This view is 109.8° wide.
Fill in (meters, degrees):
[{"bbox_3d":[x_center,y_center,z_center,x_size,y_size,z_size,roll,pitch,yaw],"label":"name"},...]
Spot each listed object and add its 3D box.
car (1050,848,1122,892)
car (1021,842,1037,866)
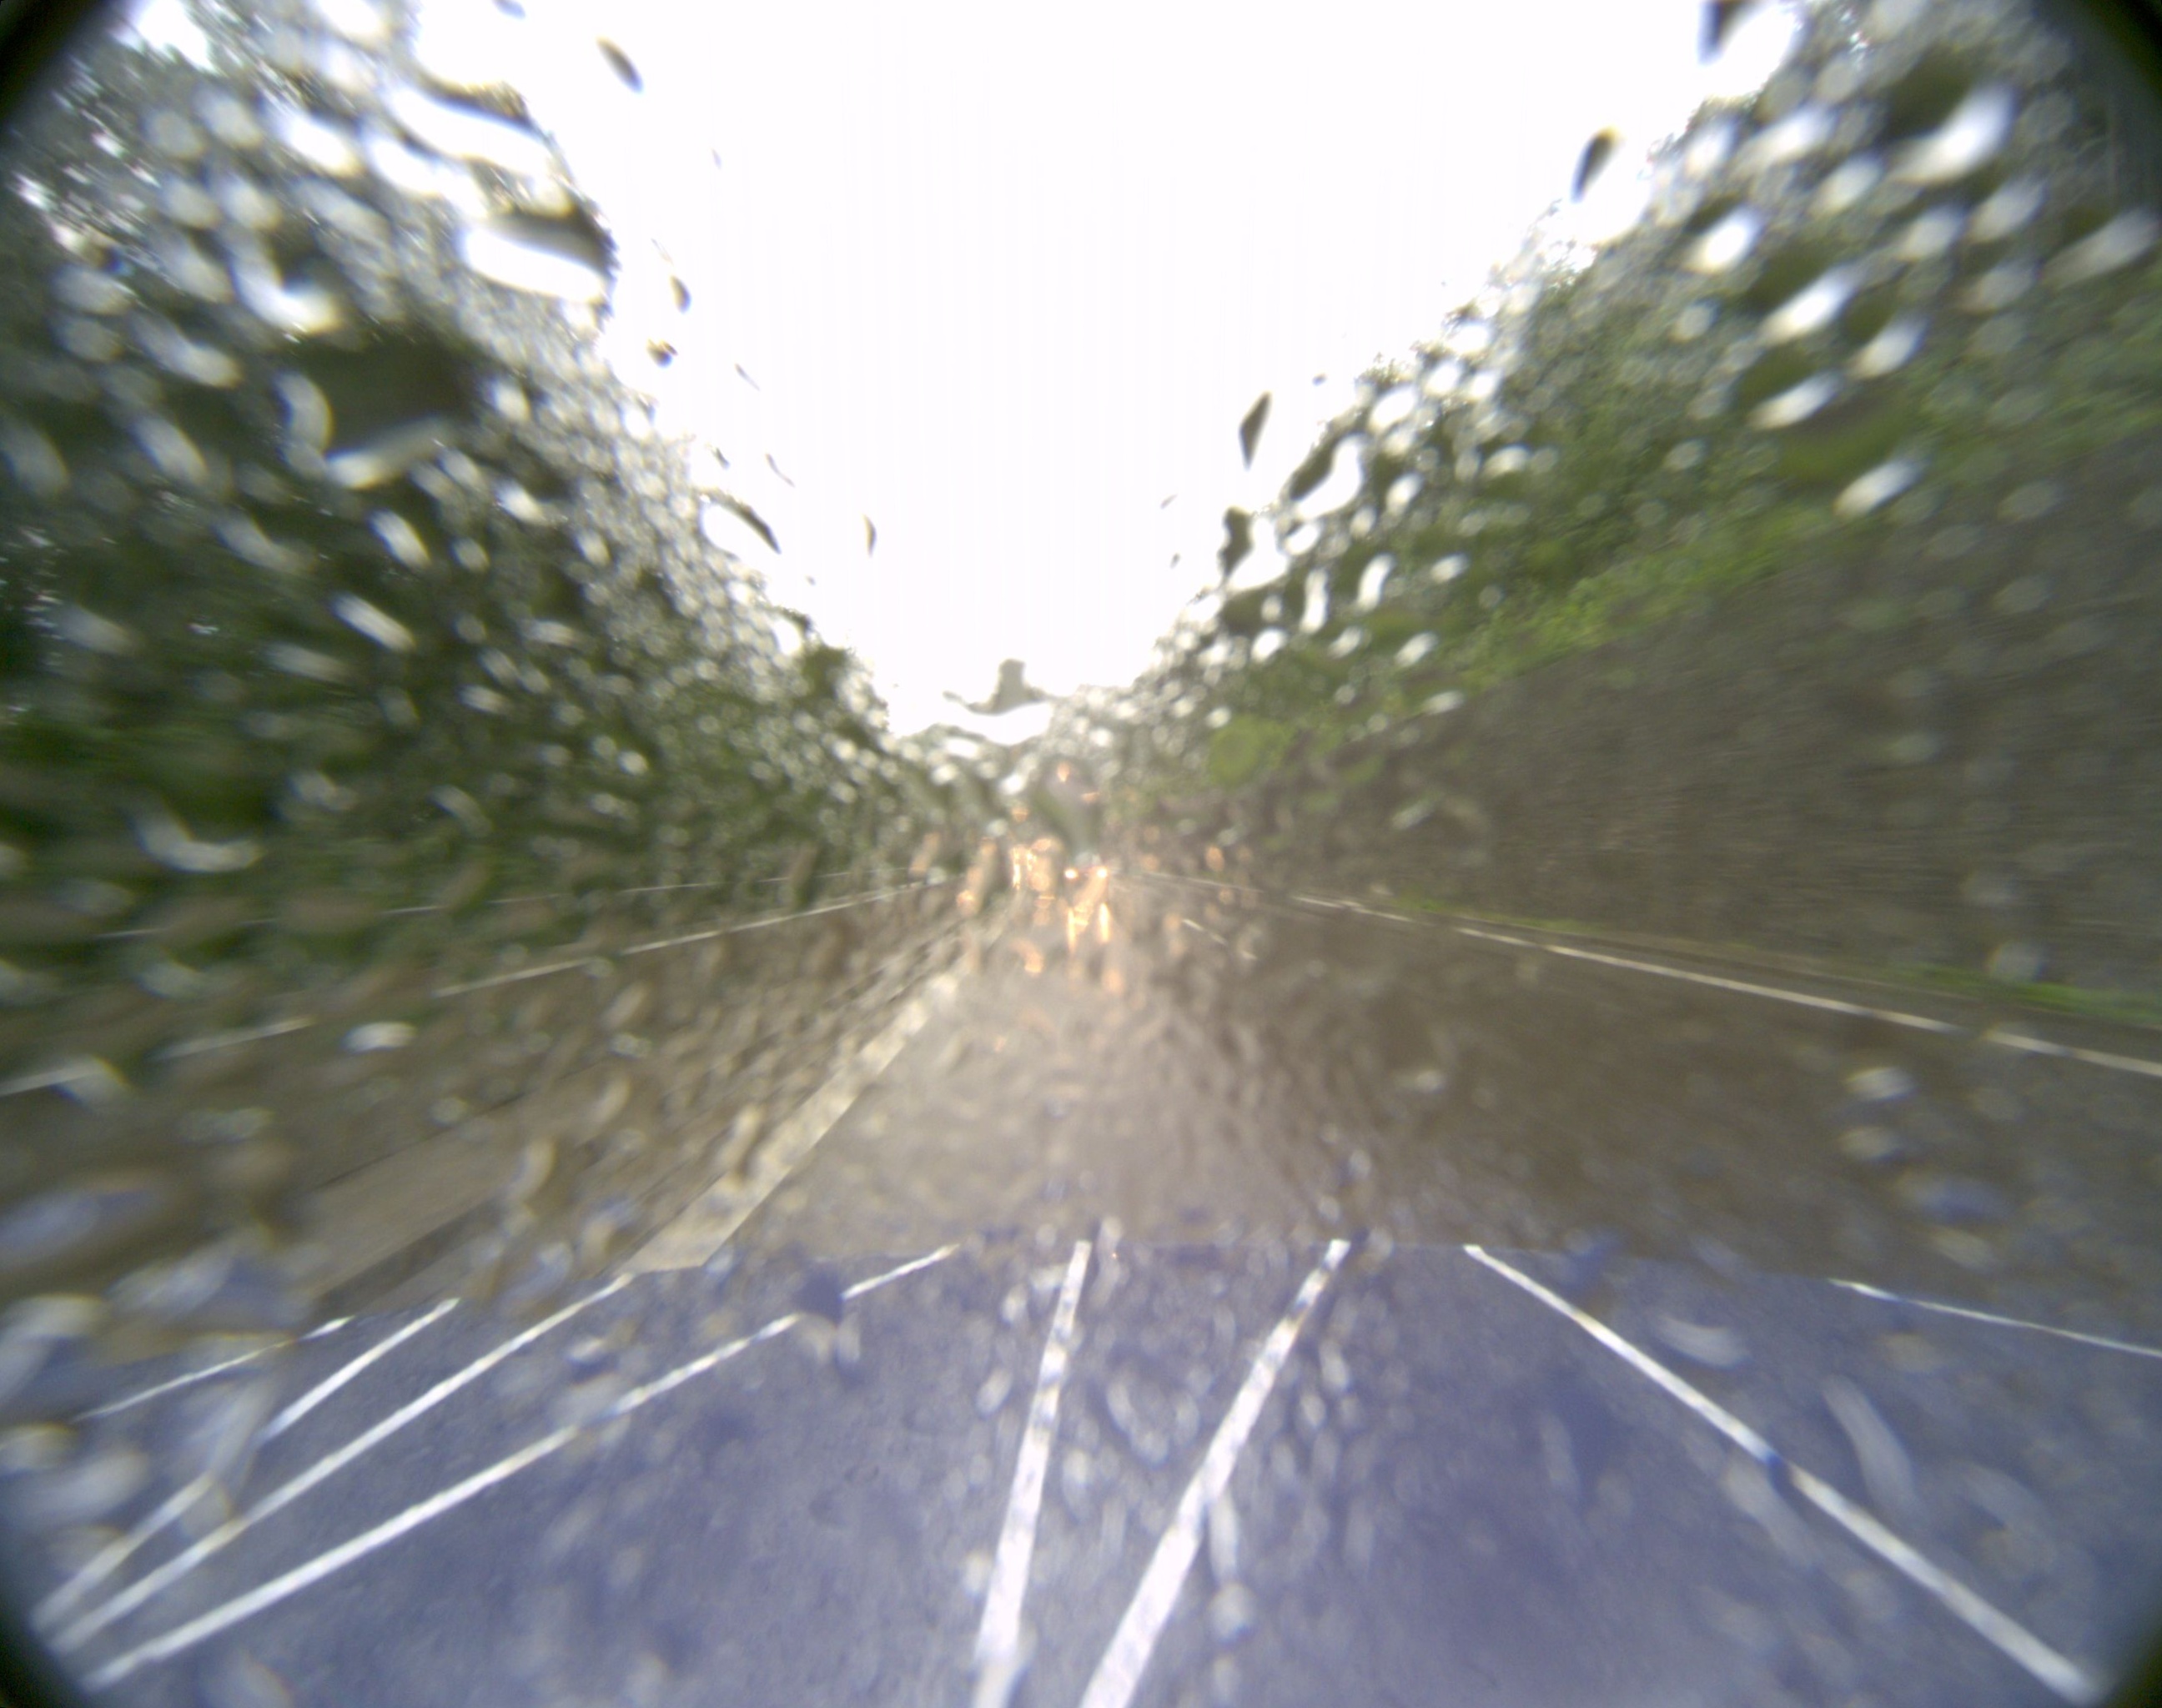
[{"bbox_3d":[0.078,0.545,29.667,2.360,1.549,5.496,-1,1,-4],"label":"car"},{"bbox_3d":[-6.975,-0.045,101.152,1.743,3.008,3.996,2,1,-8],"label":"car"}]
